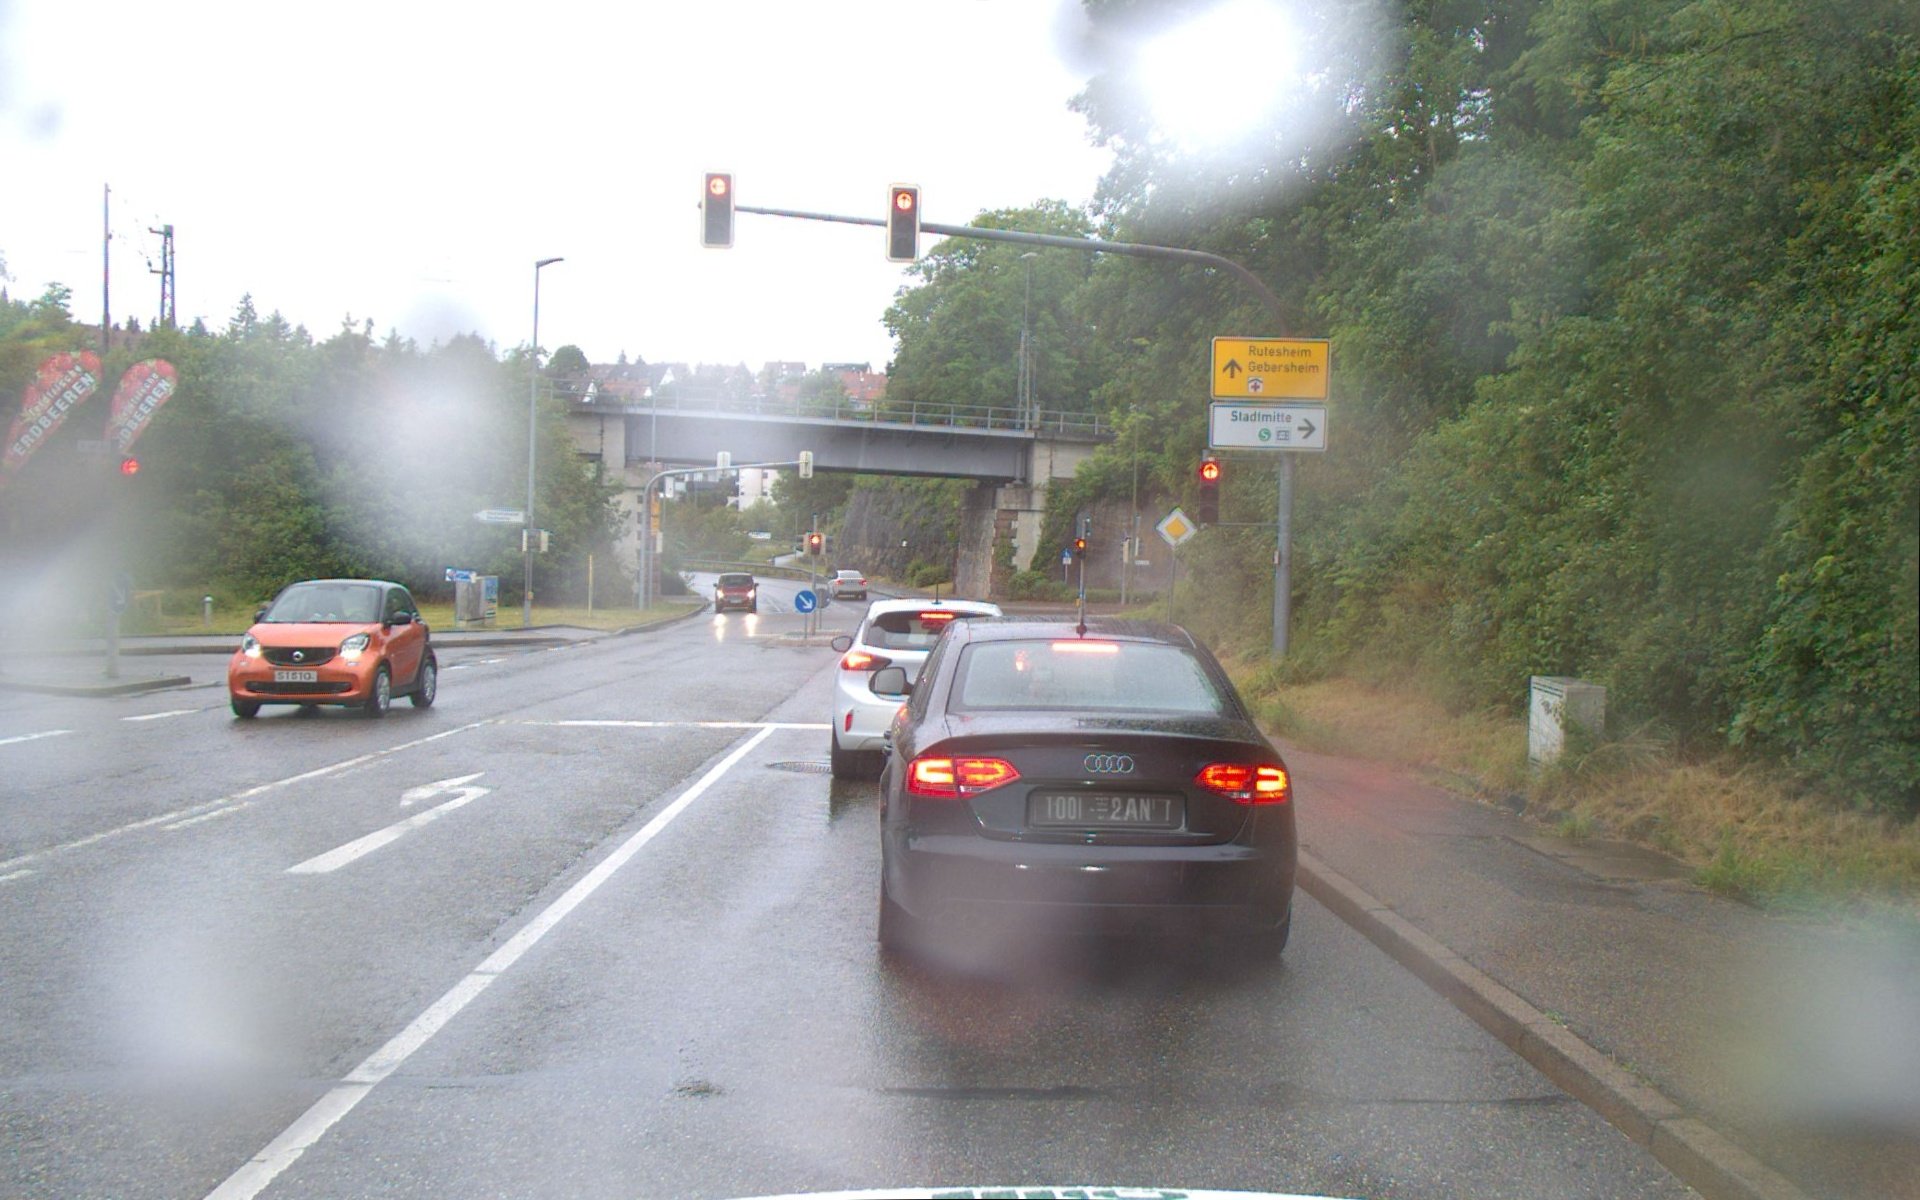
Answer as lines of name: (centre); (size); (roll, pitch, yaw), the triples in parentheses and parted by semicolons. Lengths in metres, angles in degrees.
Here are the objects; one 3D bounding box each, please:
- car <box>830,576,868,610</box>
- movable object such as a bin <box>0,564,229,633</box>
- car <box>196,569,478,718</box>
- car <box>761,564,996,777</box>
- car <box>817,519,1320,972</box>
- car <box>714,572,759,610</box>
car: (-6.078, -0.344, 90.132); (1.770, 1.773, 4.472); (1, -1, -7)
movable object such as a bin: (-22.380, 0.014, 42.832); (2.699, 1.656, 5.752); (0, -1, 39)
car: (-7.426, 0.507, 20.169); (1.953, 1.613, 3.999); (1, -1, -1)
car: (-0.657, 0.570, 14.719); (1.786, 1.613, 3.999); (1, -1, -1)
car: (0.369, 0.523, 8.038); (1.832, 1.645, 3.999); (0, 0, -1)
car: (-10.181, -0.416, 75.370); (1.956, 1.657, 3.993); (0, 0, -8)
